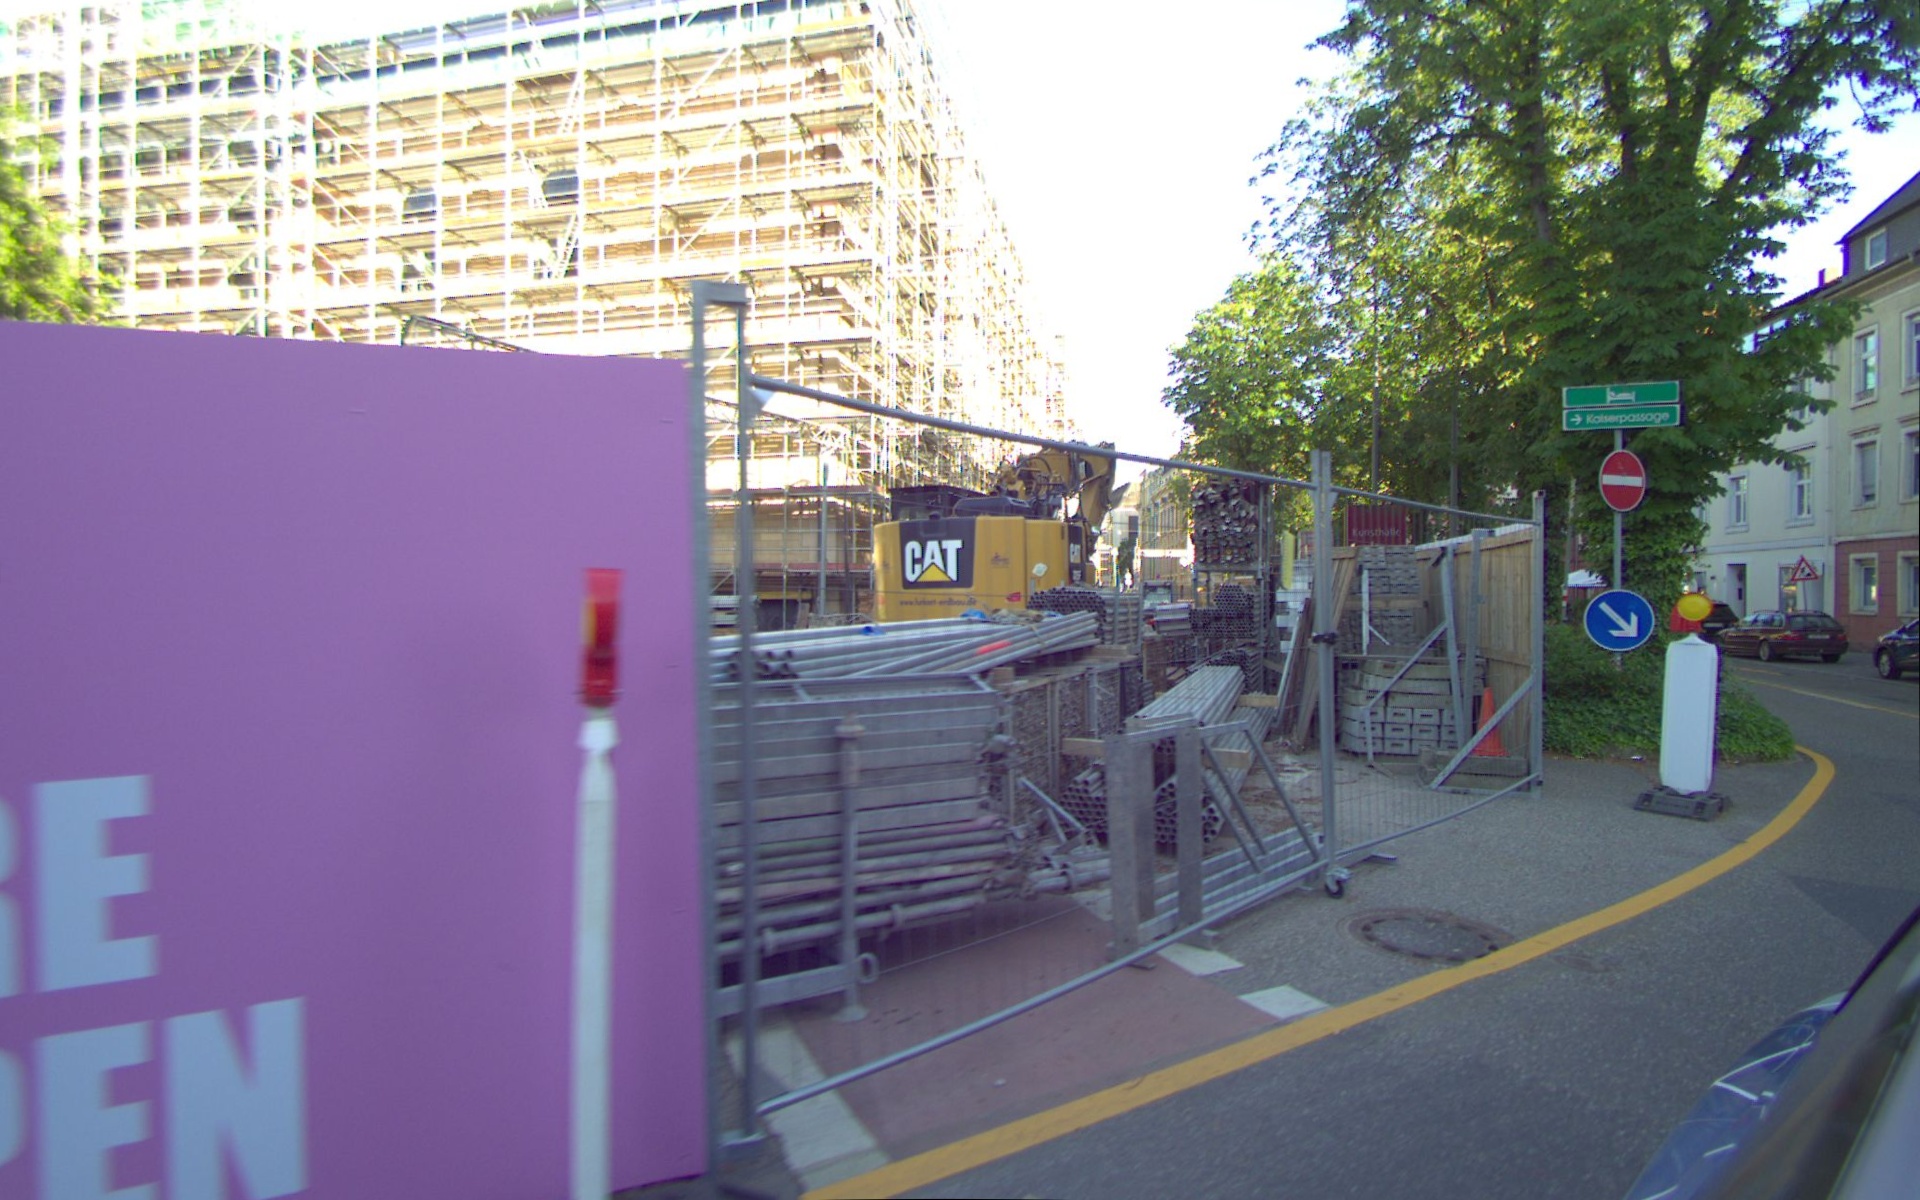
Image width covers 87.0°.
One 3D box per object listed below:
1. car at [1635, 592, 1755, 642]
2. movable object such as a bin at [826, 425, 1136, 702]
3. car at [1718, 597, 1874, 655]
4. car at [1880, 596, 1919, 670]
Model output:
[{"bbox_3d":[25.051,0.528,34.687,1.792,1.591,4.372,0,1,14],"label":"car"},{"bbox_3d":[0.515,-0.479,14.867,3.138,3.342,4.350,1,0,24],"label":"movable object such as a bin"},{"bbox_3d":[23.988,0.707,29.249,1.745,1.507,4.177,-1,0,13],"label":"car"},{"bbox_3d":[21.425,0.732,21.028,1.782,1.591,4.133,0,1,16],"label":"car"}]
